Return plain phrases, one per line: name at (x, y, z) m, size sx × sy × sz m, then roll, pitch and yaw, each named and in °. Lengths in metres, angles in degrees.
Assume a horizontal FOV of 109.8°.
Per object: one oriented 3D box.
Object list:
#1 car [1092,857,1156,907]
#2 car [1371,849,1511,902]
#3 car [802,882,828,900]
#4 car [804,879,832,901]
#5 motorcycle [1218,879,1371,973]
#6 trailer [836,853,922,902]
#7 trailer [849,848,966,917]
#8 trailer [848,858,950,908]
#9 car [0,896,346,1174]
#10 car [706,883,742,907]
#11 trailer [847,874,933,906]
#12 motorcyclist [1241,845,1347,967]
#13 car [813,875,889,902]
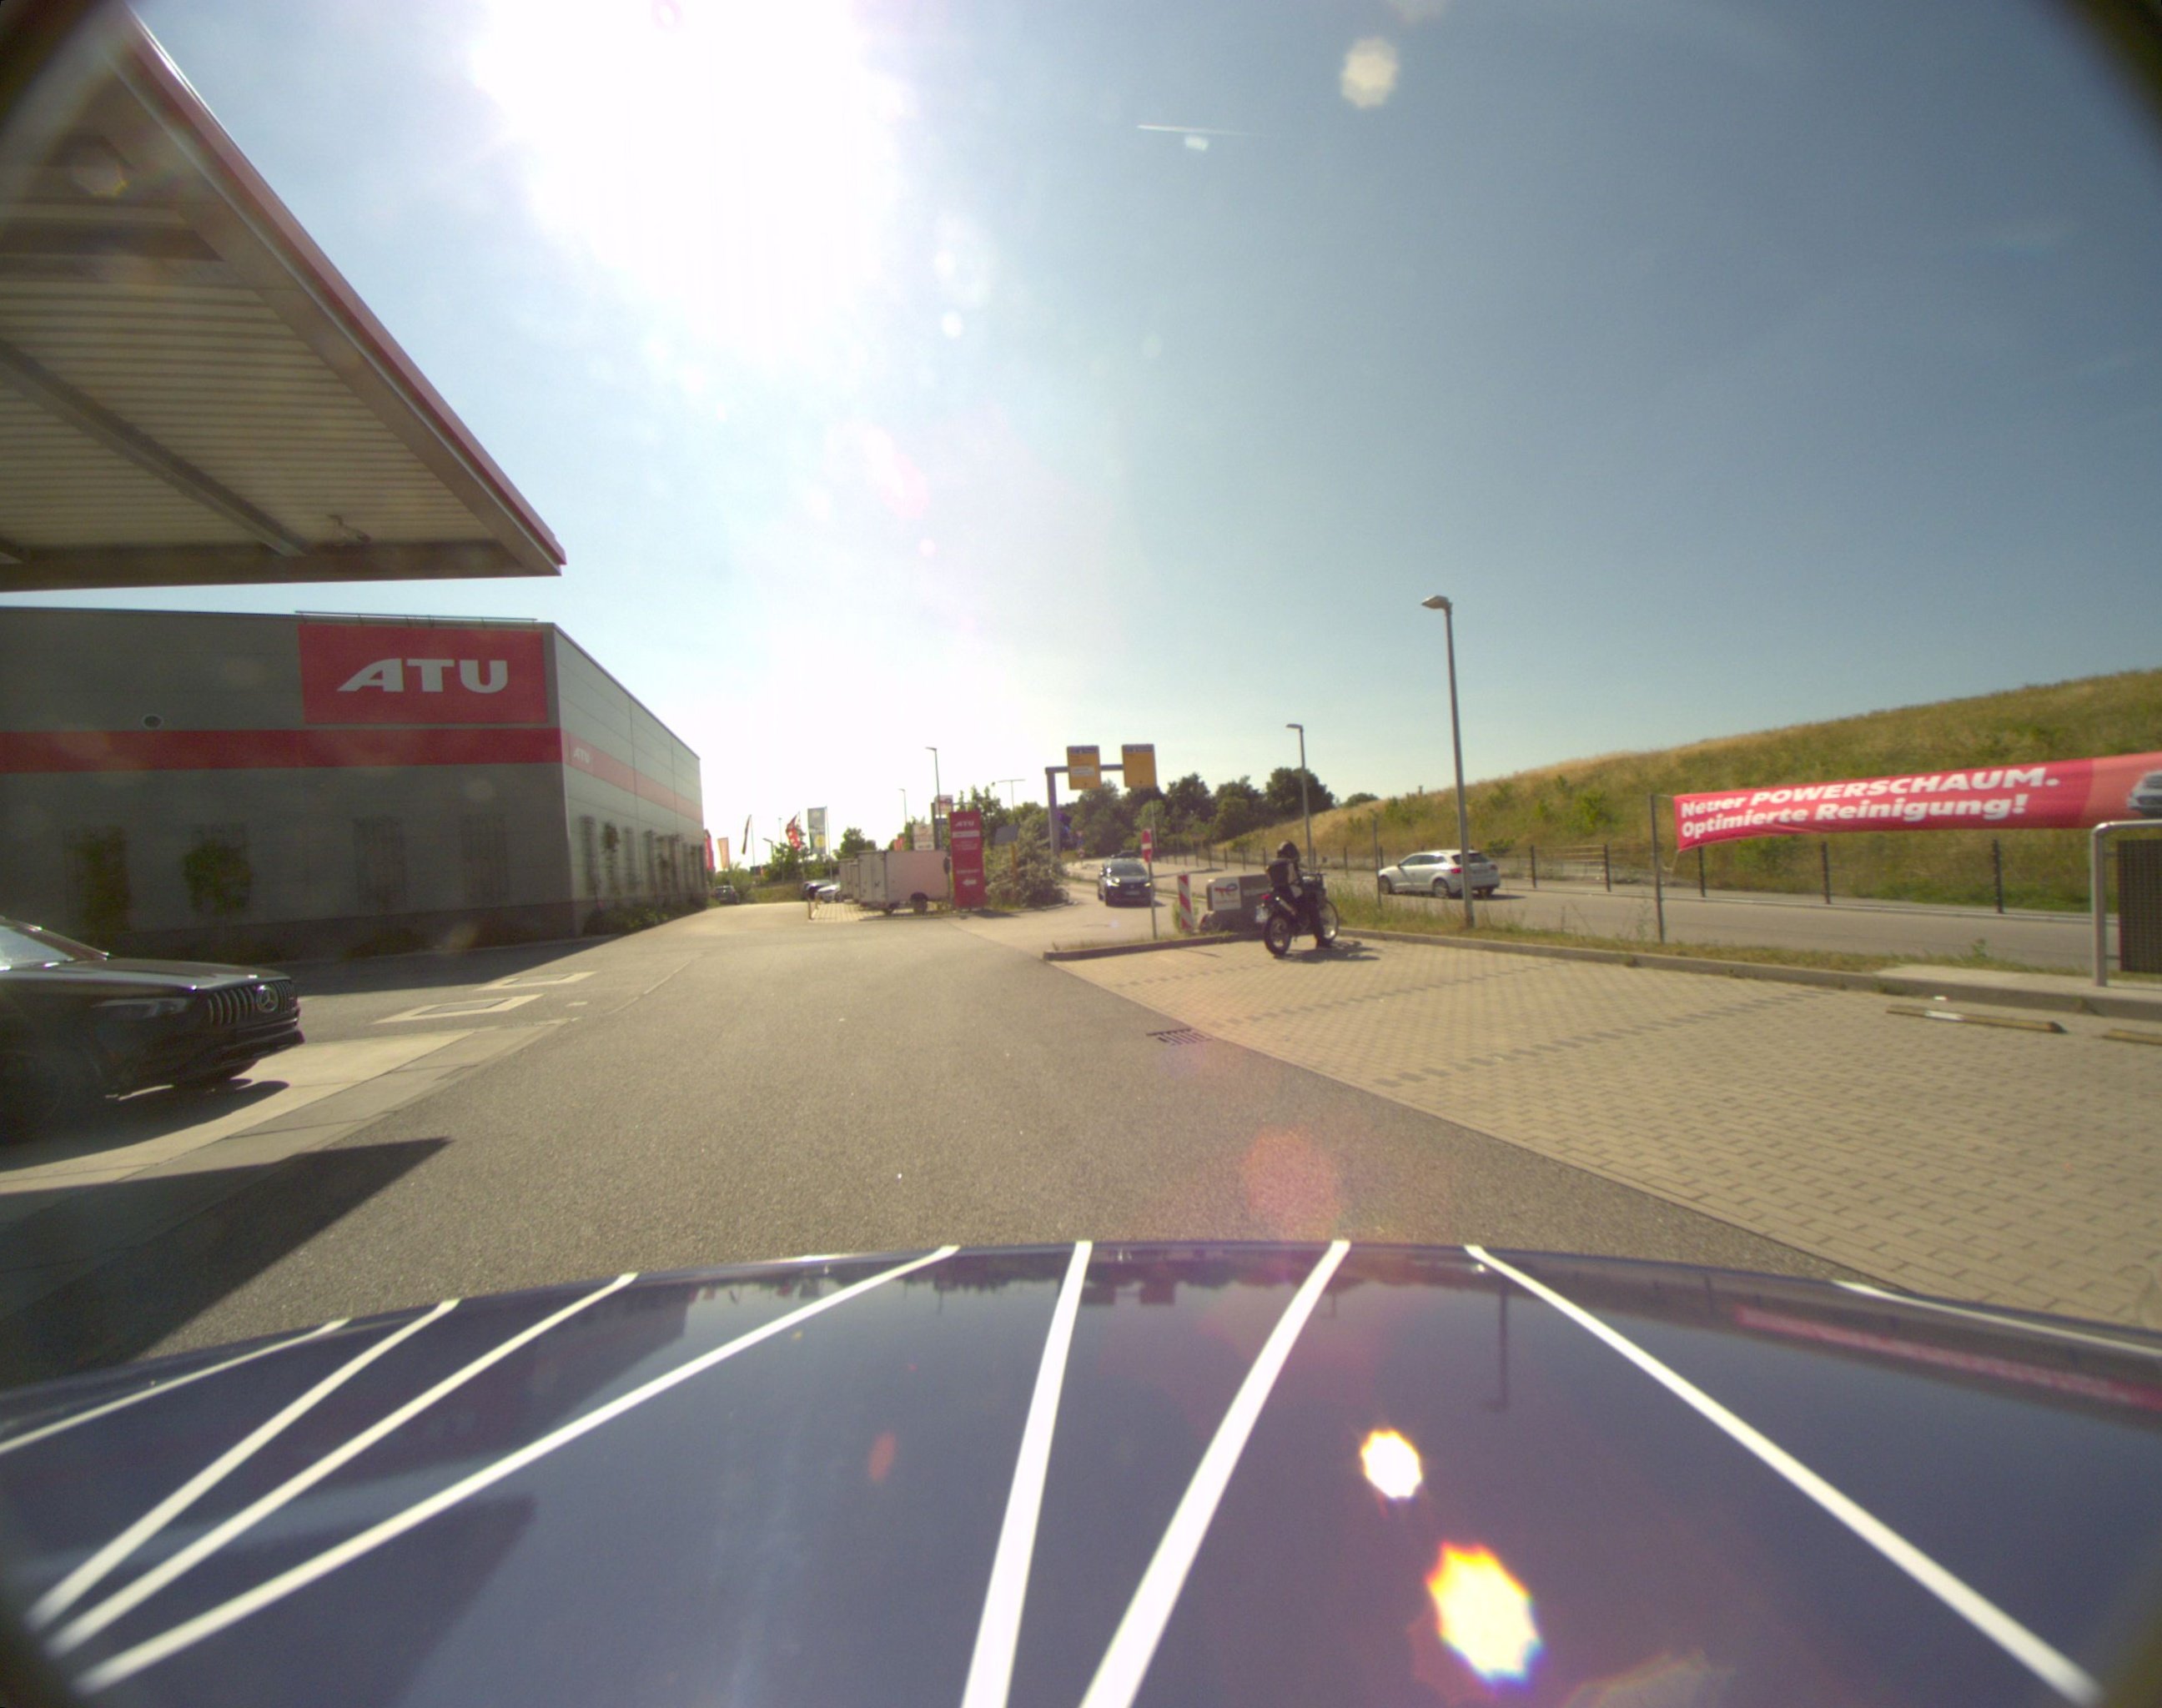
car at (1.544, 1.019, 28.906) m, size 1.743 × 1.635 × 4.631 m, roll -3°, pitch -1°, yaw -4°
car at (11.170, 0.612, 23.915) m, size 1.708 × 1.415 × 4.089 m, roll -3°, pitch 1°, yaw -15°
car at (-21.344, 2.944, 61.060) m, size 1.682 × 1.295 × 3.720 m, roll -3°, pitch -1°, yaw -16°
car at (-17.829, 2.435, 51.517) m, size 1.683 × 1.309 × 3.830 m, roll -3°, pitch 0°, yaw -19°
motorcycle at (3.269, 1.019, 11.472) m, size 2.420 × 1.099 × 1.043 m, roll -4°, pitch 1°, yaw -42°
trailer at (-11.122, 1.267, 41.997) m, size 4.007 × 2.413 × 1.995 m, roll -3°, pitch 0°, yaw -45°
trailer at (-6.633, 1.054, 29.411) m, size 1.995 × 2.413 × 4.007 m, roll -3°, pitch 0°, yaw 35°
trailer at (-8.243, 1.312, 34.605) m, size 4.007 × 2.001 × 1.798 m, roll -3°, pitch -1°, yaw -42°
car at (-9.325, 1.399, 5.851) m, size 4.801 × 1.840 × 2.031 m, roll -2°, pitch 0°, yaw -18°
car at (-25.748, 2.926, 54.782) m, size 1.684 × 1.532 × 3.827 m, roll -3°, pitch 0°, yaw -34°
trailer at (-9.258, 1.737, 36.977) m, size 3.726 × 1.273 × 1.574 m, roll -3°, pitch -1°, yaw -42°
motorcyclist at (3.205, 0.746, 11.428) m, size 1.101 × 1.678 × 1.032 m, roll -3°, pitch 0°, yaw -42°
car at (-13.177, 1.967, 43.635) m, size 1.677 × 1.309 × 3.843 m, roll -3°, pitch 0°, yaw 39°
